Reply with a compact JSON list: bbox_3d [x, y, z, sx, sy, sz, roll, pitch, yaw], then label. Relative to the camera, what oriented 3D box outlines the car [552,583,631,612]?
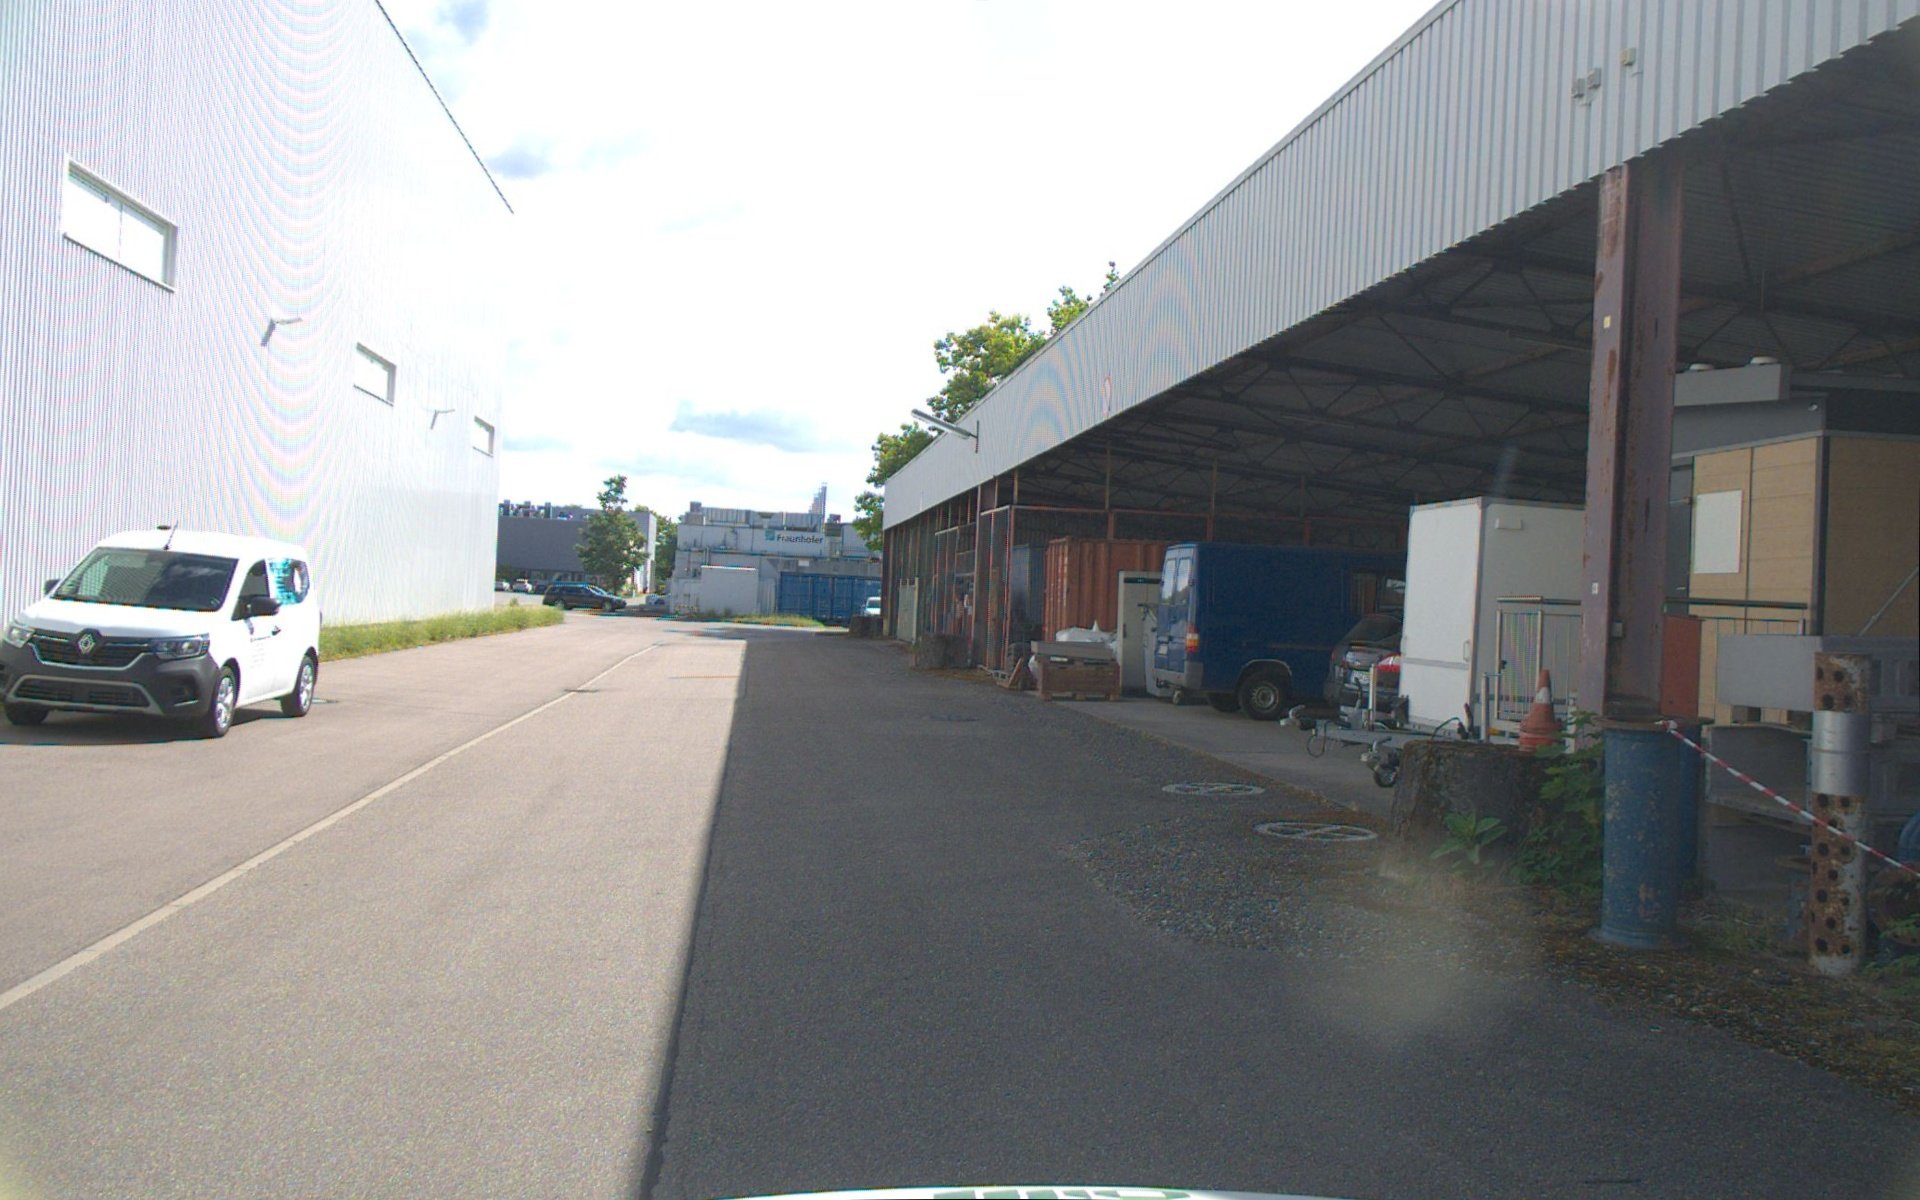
[{"bbox_3d":[-22.243,-0.127,100.048,4.444,1.468,1.900,3,-2,-8],"label":"car"}]

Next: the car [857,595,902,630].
[{"bbox_3d":[-4.243,0.642,86.597,1.944,1.621,4.333,3,1,-8],"label":"car"}]

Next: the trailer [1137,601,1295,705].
[{"bbox_3d":[3.896,0.801,25.427,2.053,1.488,1.640,2,-1,-5],"label":"trailer"}]

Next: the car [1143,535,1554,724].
[{"bbox_3d":[5.326,0.416,23.004,5.119,2.337,2.080,2,-1,-9],"label":"car"}]

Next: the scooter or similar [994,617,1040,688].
[{"bbox_3d":[0.962,0.878,28.218,0.510,1.154,1.589,2,-1,-8],"label":"scooter or similar"}]

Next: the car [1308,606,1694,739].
[{"bbox_3d":[6.453,0.846,19.936,4.030,1.479,1.847,1,0,-8],"label":"car"}]

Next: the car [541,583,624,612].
[{"bbox_3d":[-22.057,-0.125,96.789,4.444,1.468,1.984,3,-2,-8],"label":"car"}]

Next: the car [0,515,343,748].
[{"bbox_3d":[-7.564,0.245,15.974,1.892,1.821,4.590,4,0,-7],"label":"car"}]

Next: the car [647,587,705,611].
[{"bbox_3d":[-21.420,-0.063,124.851,4.198,1.596,1.984,3,-2,-8],"label":"car"}]

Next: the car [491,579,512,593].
[{"bbox_3d":[-52.657,-1.592,190.072,1.843,1.564,4.026,1,0,-10],"label":"car"}]

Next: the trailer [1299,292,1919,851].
[{"bbox_3d":[7.755,-0.087,11.876,10.097,3.353,2.671,1,0,-7],"label":"trailer"}]

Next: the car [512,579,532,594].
[{"bbox_3d":[-50.423,-1.551,190.610,1.843,1.564,4.026,1,0,-10],"label":"car"}]

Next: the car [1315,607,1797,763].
[{"bbox_3d":[5.982,0.835,16.788,4.266,1.458,1.860,1,0,-11],"label":"car"}]

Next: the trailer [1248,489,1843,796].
[{"bbox_3d":[4.863,0.359,14.014,4.455,2.376,1.686,1,0,-7],"label":"trailer"}]
